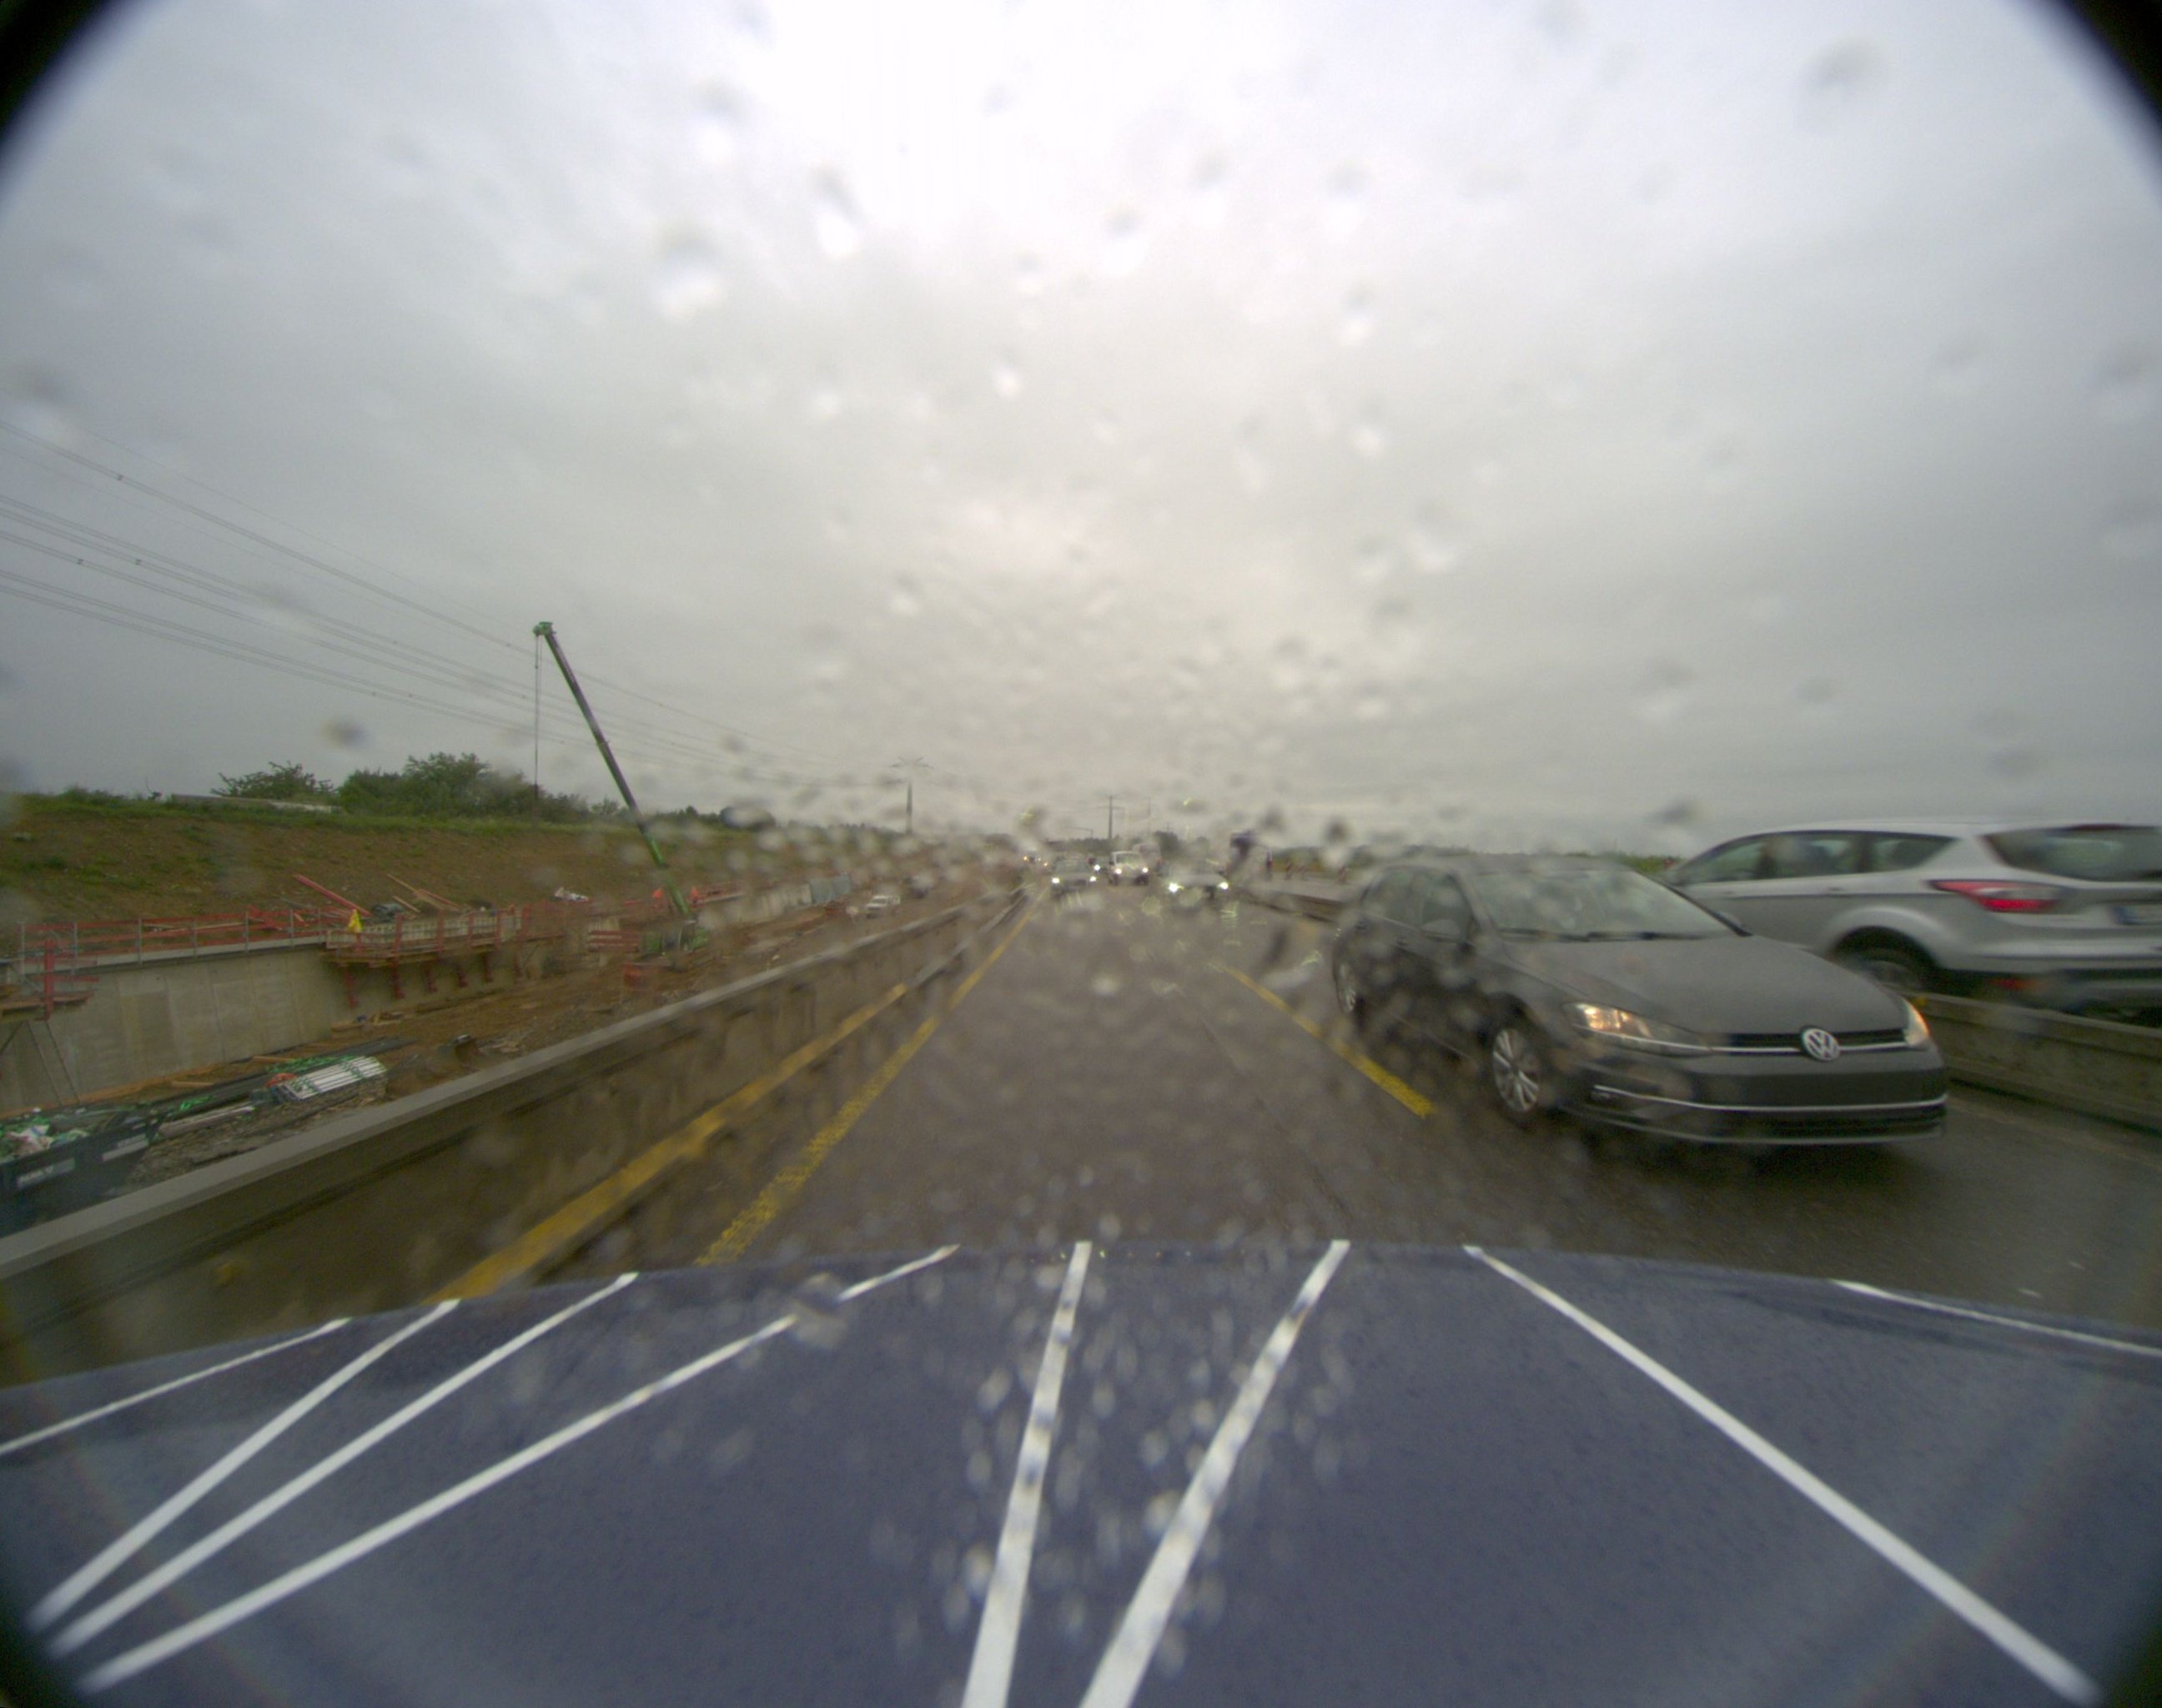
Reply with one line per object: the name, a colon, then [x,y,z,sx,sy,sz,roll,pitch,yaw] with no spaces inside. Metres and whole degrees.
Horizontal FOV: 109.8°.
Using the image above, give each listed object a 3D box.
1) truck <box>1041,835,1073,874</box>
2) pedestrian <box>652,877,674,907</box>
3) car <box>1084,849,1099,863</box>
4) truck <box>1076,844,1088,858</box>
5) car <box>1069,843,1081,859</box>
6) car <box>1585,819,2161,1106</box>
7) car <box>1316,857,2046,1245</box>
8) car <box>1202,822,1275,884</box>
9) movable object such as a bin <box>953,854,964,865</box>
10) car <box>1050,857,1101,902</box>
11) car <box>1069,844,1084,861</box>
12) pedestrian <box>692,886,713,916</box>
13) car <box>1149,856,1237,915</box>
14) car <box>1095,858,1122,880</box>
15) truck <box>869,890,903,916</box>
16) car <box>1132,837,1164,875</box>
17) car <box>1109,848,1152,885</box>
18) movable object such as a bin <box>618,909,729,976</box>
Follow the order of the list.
truck: [-2.466,0.006,76.722,2.837,3.617,9.117,-3,1,-2]
pedestrian: [-32.607,2.963,59.319,0.918,2.233,1.005,-7,2,-5]
car: [1.447,0.276,109.509,1.999,1.774,4.836,-3,0,-1]
truck: [0.203,-0.675,168.814,2.365,2.877,6.545,0,1,-4]
car: [-1.288,-0.585,155.061,1.999,3.028,7.169,-3,0,-3]
car: [6.844,0.647,6.805,1.795,1.713,4.287,-3,0,1]
car: [3.013,0.795,5.052,1.653,1.414,4.080,-2,1,1]
car: [6.959,-0.020,34.325,2.029,2.533,5.958,-1,0,0]
movable object such as a bin: [-31.467,1.354,194.799,2.252,2.703,3.998,-3,1,-5]
car: [-0.147,0.951,30.117,1.799,1.524,4.308,-3,0,2]
car: [-0.554,-0.207,93.831,1.799,1.850,4.286,-3,1,0]
pedestrian: [-30.865,3.813,61.944,0.917,2.219,1.006,-7,2,2]
car: [3.130,0.835,22.126,1.800,1.389,4.268,-3,1,-1]
car: [2.109,1.125,59.072,1.800,1.521,4.066,-3,1,-2]
truck: [-17.894,4.476,69.934,1.767,1.860,5.785,-1,1,-1]
car: [5.661,0.159,64.613,1.999,2.995,5.779,-3,0,-1]
car: [2.736,0.631,43.404,2.160,1.848,5.179,-3,1,1]
movable object such as a bin: [-23.600,5.064,44.374,3.803,2.790,4.849,-2,6,-2]
